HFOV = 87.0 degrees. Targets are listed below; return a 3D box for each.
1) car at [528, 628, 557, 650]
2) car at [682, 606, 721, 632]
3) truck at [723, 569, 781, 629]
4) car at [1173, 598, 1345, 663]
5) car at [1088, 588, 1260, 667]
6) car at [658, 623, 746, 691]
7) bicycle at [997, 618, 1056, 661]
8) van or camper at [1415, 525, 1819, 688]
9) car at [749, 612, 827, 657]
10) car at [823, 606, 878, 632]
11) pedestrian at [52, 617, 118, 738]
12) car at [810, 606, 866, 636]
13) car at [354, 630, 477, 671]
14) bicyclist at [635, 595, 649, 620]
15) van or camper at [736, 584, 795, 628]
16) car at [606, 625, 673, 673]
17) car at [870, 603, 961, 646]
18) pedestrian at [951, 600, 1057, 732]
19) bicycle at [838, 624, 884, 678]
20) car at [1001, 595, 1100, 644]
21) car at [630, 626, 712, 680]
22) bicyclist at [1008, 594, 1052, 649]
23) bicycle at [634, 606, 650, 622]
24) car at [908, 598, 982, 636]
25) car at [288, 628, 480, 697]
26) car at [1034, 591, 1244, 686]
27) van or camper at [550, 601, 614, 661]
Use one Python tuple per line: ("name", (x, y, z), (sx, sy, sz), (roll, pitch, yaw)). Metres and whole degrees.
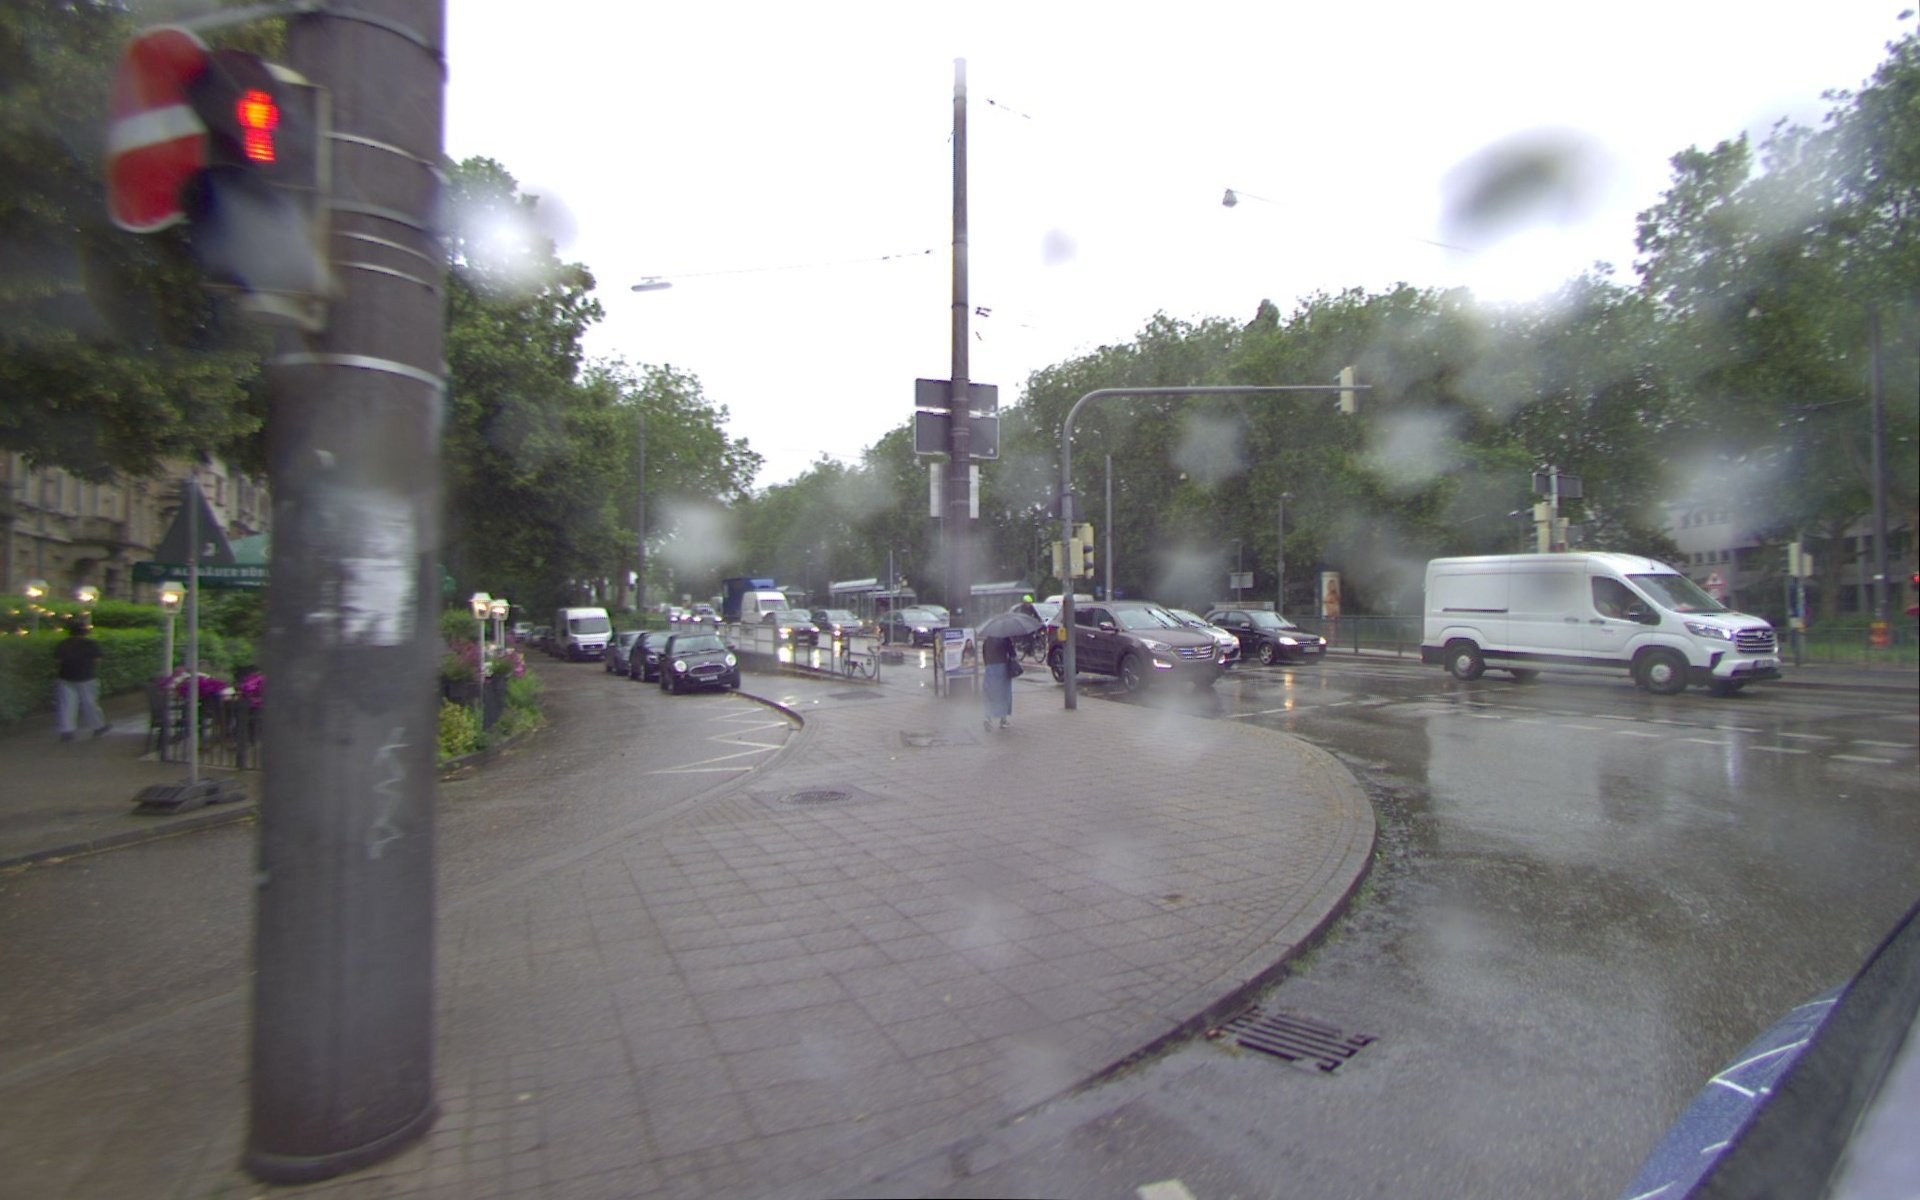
("car", (-30.410, 2.827, 73.655), (1.773, 1.473, 4.005), (-1, -1, -25))
("car", (-19.083, 1.382, 74.700), (1.959, 1.780, 4.006), (-2, 1, -26))
("truck", (-16.043, 0.015, 77.632), (2.369, 4.332, 8.364), (-1, -1, -25))
("car", (7.804, 0.803, 26.892), (1.750, 1.532, 4.562), (-1, -1, -26))
("car", (5.208, 0.674, 25.251), (1.936, 1.764, 4.272), (-1, -1, -27))
("car", (-6.588, 1.385, 25.607), (1.618, 1.519, 3.522), (-2, -1, -23))
("bicycle", (1.832, 1.075, 28.286), (0.802, 1.102, 2.001), (-2, 1, -24))
("van or camper", (11.661, 0.153, 18.670), (2.137, 2.503, 5.979), (0, -1, -24))
("car", (-7.274, 1.437, 42.453), (1.938, 1.709, 4.698), (-1, -1, -27))
("car", (-6.535, 1.146, 60.003), (1.875, 1.426, 4.196), (-1, -1, -26))
("pedestrian", (-12.325, 1.083, 14.269), (0.539, 1.666, 0.389), (2, -3, -24))
("car", (-6.110, 1.047, 50.159), (1.603, 1.375, 4.254), (-1, -1, -23))
("car", (-22.486, 2.057, 41.945), (1.696, 1.489, 4.237), (-2, -1, 32))
("bicyclist", (-21.778, 0.537, 69.298), (0.723, 1.677, 0.878), (0, -2, -30))
("van or camper", (-12.034, 0.407, 62.268), (2.101, 2.531, 5.719), (-1, -1, -27))
("car", (-11.197, 1.656, 35.214), (1.697, 1.489, 4.222), (-1, -1, -25))
("car", (-1.896, 0.994, 40.608), (1.908, 1.613, 5.344), (0, -2, -23))
("pedestrian", (0.604, 0.856, 13.562), (1.094, 1.688, 0.989), (-2, -1, 26))
("bicycle", (-2.311, 1.161, 23.452), (0.415, 1.183, 1.795), (-2, -1, -26))
("car", (3.275, 0.729, 37.532), (1.811, 1.655, 4.254), (-1, -1, -23))
("car", (-8.820, 1.546, 30.694), (1.716, 1.482, 4.222), (-1, -1, -25))
("bicyclist", (1.950, 0.581, 28.173), (0.909, 1.488, 0.807), (-2, 0, -23))
("bicycle", (-21.774, 0.964, 69.286), (0.725, 1.086, 1.868), (1, -2, -29))
("car", (-0.748, 0.832, 47.957), (1.875, 1.668, 4.196), (-1, -1, -26))
("car", (-14.700, 1.552, 26.039), (1.843, 1.527, 3.961), (-2, -1, 28))
("car", (3.449, 0.744, 20.537), (1.874, 1.668, 4.687), (-1, -1, -24))
("van or camper", (-18.015, 1.454, 48.014), (2.286, 2.624, 6.105), (-1, -1, -26))
